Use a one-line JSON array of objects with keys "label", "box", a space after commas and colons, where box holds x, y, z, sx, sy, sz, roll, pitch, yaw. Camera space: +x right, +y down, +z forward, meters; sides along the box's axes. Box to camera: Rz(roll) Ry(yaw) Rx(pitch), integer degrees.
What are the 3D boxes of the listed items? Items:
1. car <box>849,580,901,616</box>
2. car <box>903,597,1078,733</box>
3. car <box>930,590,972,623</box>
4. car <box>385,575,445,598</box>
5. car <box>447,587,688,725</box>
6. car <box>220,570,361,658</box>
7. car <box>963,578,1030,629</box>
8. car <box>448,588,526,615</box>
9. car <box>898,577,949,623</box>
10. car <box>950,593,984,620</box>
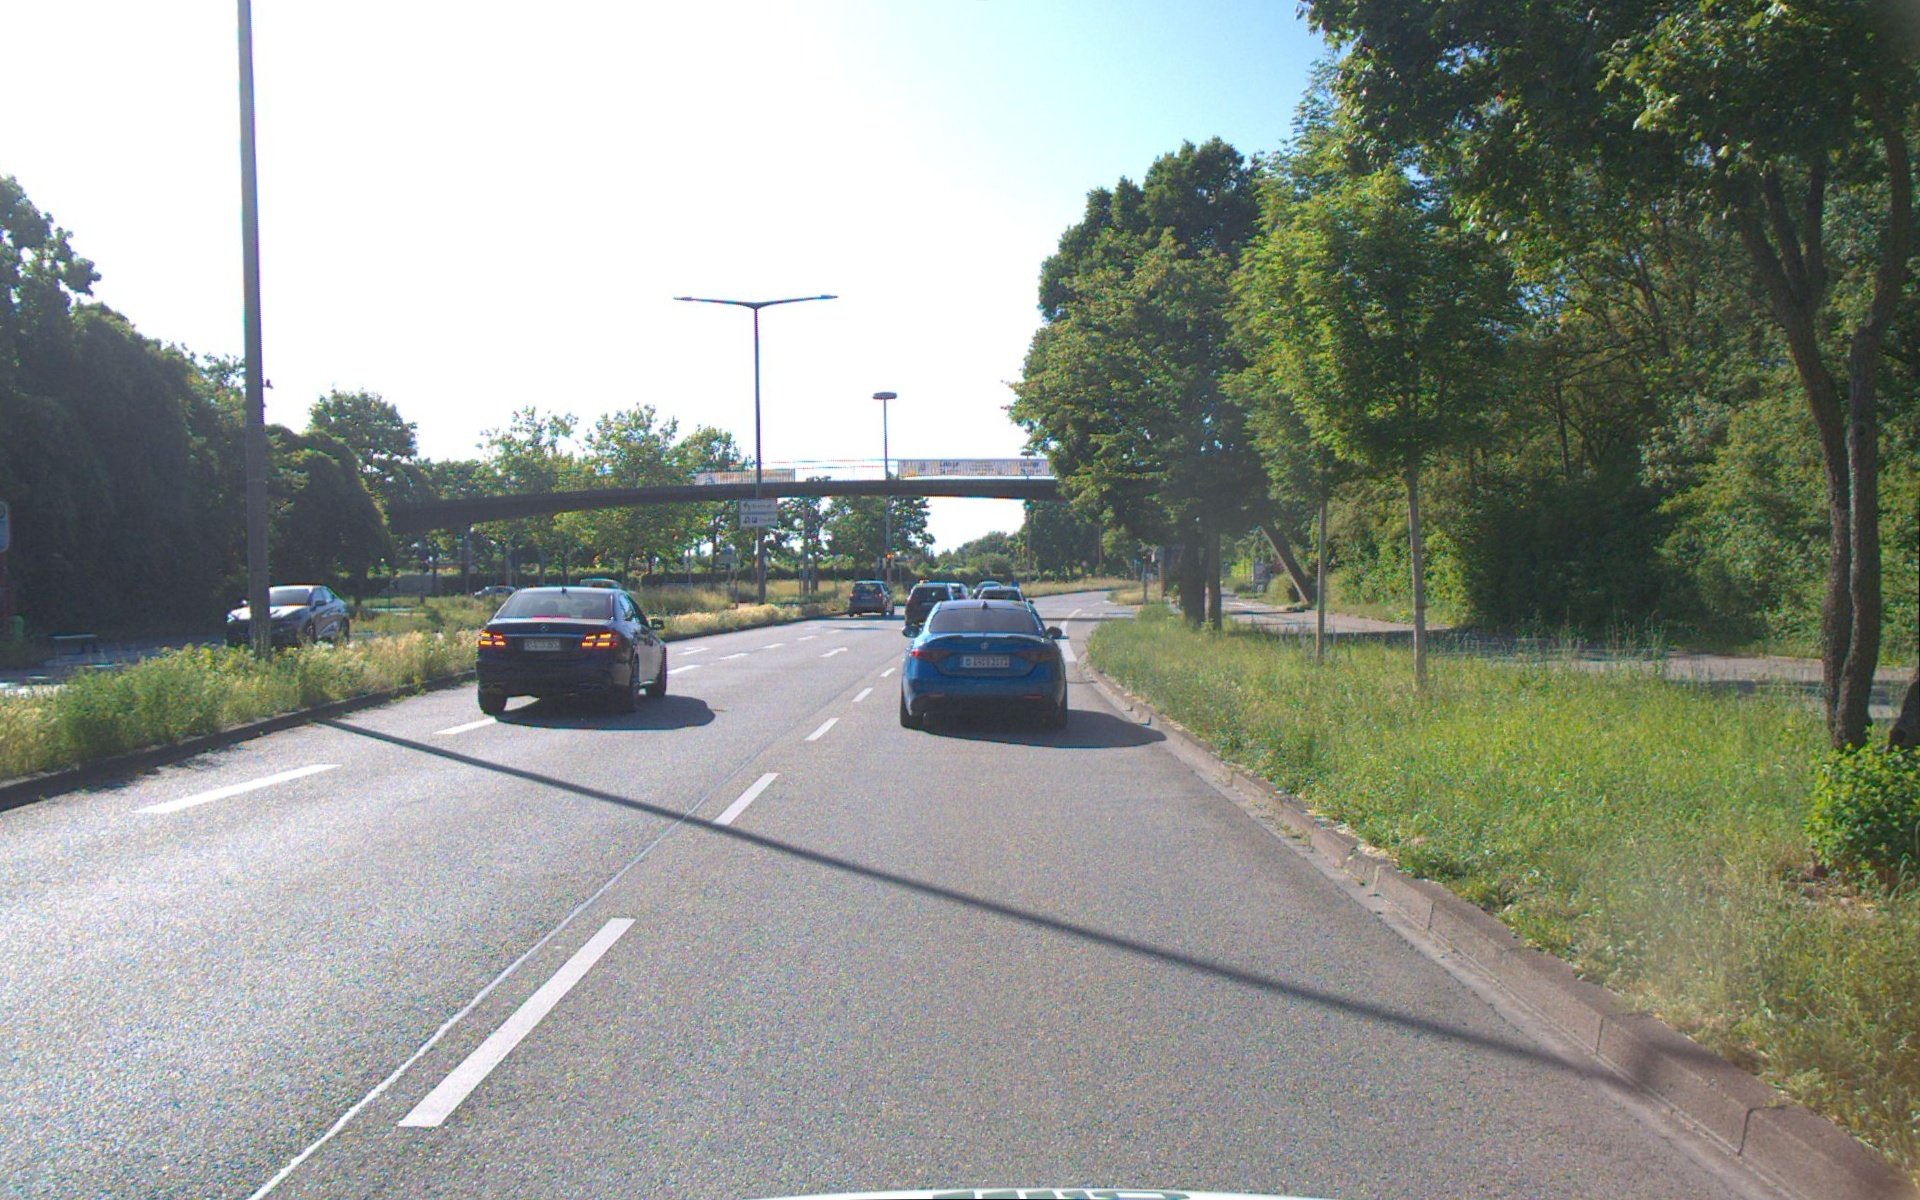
[{"label": "car", "box": [-3.877, -0.089, 75.709, 1.759, 1.583, 3.733, 0, 0, 7]}, {"label": "car", "box": [0.272, 0.677, 19.513, 1.845, 1.431, 4.223, 0, 0, -1]}, {"label": "car", "box": [-0.457, 0.278, 76.943, 1.845, 1.479, 4.525, 0, 0, -1]}, {"label": "car", "box": [-48.184, -1.160, 146.263, 4.686, 2.049, 2.000, 0, 0, 1]}, {"label": "car", "box": [-4.794, 0.613, 20.977, 1.919, 1.509, 4.917, -1, 0, -1]}, {"label": "car", "box": [-16.453, 0.328, 40.888, 1.954, 2.049, 4.578, 0, 0, -5]}, {"label": "car", "box": [1.074, 0.095, 50.948, 1.845, 1.479, 4.525, 0, 0, -1]}, {"label": "car", "box": [-29.007, 0.094, 101.464, 4.216, 1.679, 2.001, 0, 0, 19]}, {"label": "car", "box": [-1.354, -0.001, 59.766, 1.674, 1.626, 4.220, 0, 0, -4]}, {"label": "car", "box": [0.384, 0.341, 94.215, 1.845, 1.479, 4.525, 0, 0, -1]}]
